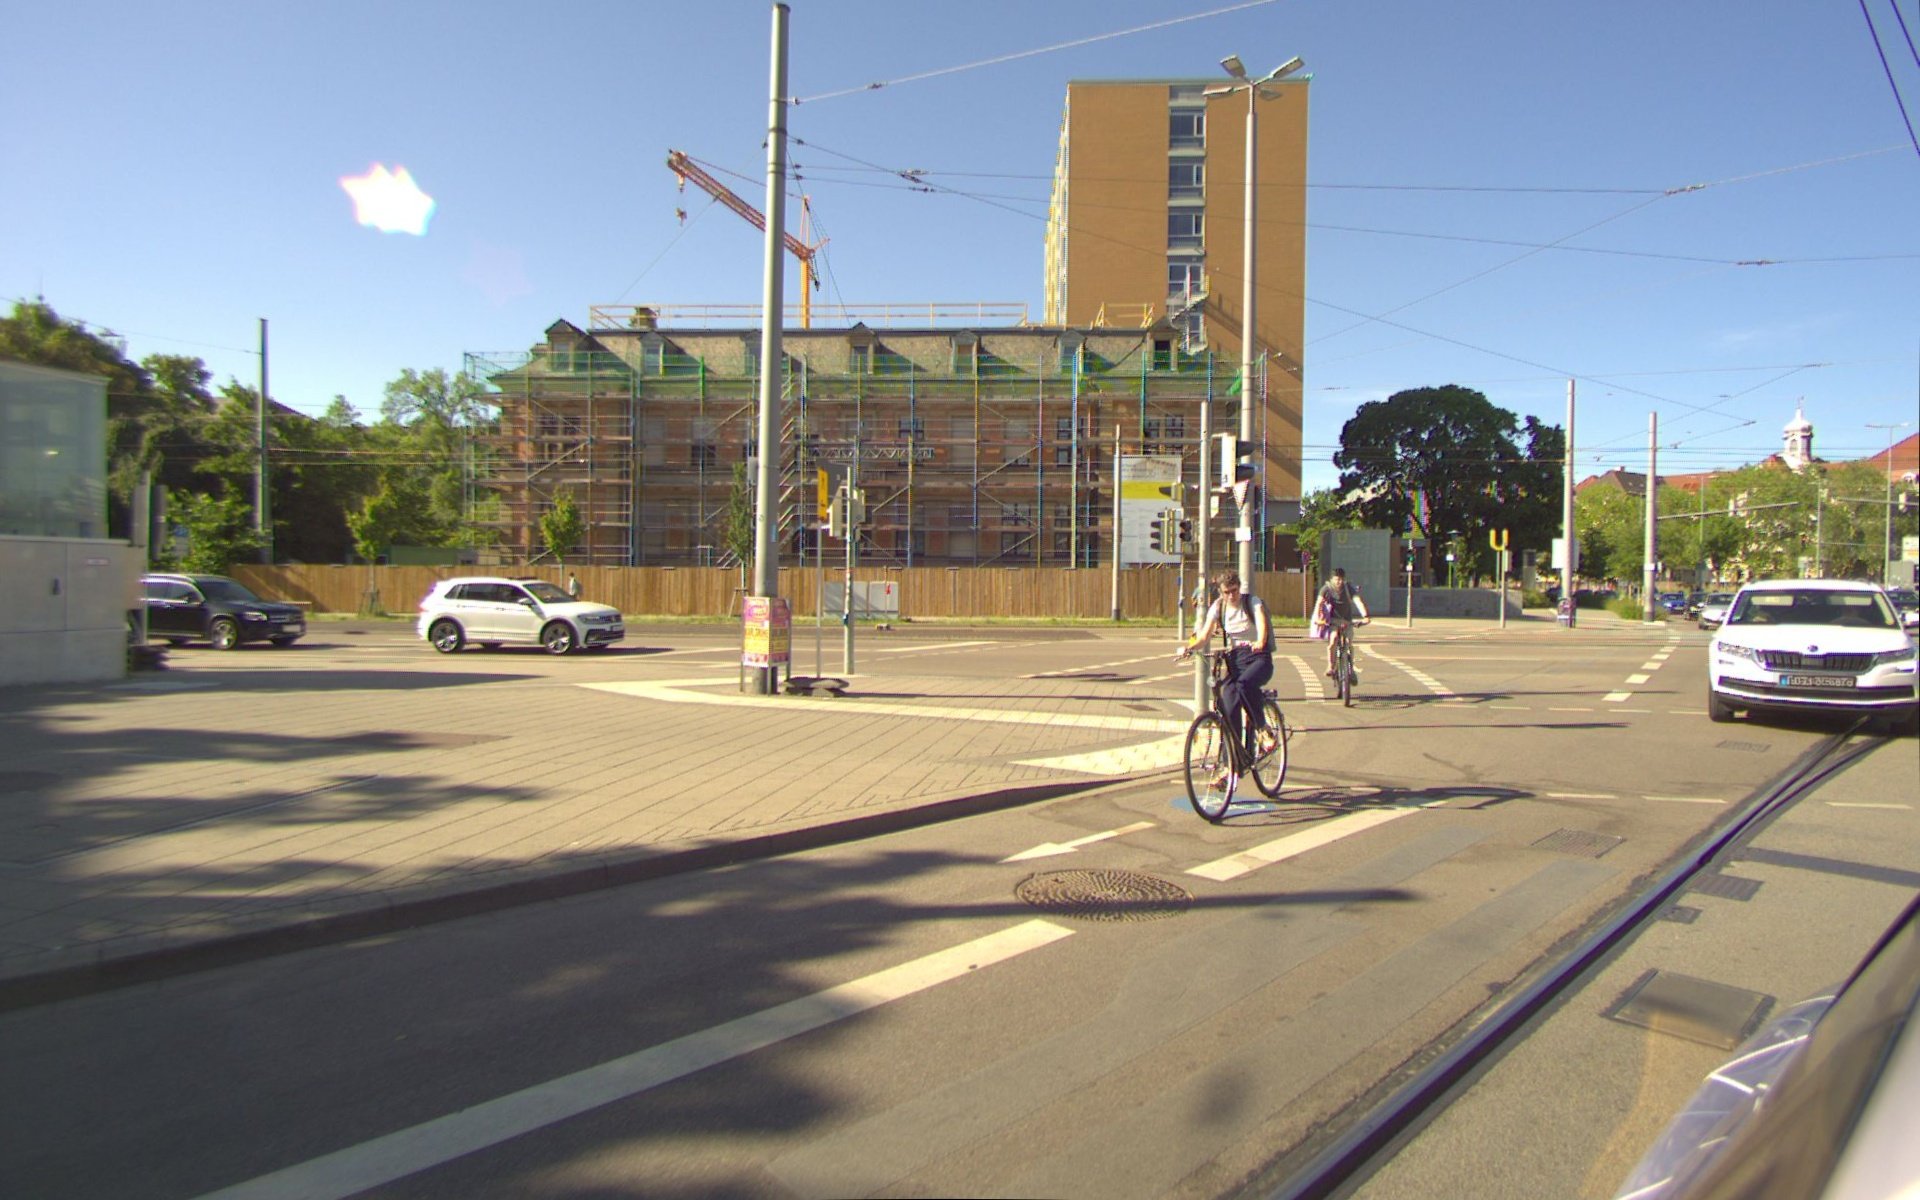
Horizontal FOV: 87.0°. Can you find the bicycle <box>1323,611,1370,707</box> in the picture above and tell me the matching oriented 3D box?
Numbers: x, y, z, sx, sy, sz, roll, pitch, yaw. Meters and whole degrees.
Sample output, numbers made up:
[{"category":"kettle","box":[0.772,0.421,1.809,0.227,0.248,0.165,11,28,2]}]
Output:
[{"category":"bicycle","box":[5.279,0.766,13.886,0.526,1.173,1.854,-1,1,19]}]

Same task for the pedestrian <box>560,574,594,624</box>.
[{"category":"pedestrian","box":[-16.035,-0.040,42.381,1.067,2.039,0.865,-1,0,0]}]

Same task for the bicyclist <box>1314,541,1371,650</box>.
[{"category":"bicyclist","box":[5.252,-0.059,13.936,0.667,1.439,1.030,-1,0,20]}]

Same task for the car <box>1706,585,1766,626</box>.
[{"category":"car","box":[33.306,0.210,43.416,1.878,1.650,3.956,-1,0,39]}]

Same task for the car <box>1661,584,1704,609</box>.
[{"category":"car","box":[47.784,-0.233,66.978,1.871,1.586,3.971,-1,0,30]}]

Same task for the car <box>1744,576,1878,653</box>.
[{"category":"car","box":[19.958,0.295,23.906,1.873,1.650,3.966,-1,0,33]}]

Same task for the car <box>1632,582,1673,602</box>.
[{"category":"car","box":[54.477,-0.660,79.670,1.902,1.477,4.628,-1,0,25]}]

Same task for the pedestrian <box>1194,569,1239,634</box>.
[{"category":"pedestrian","box":[7.856,0.045,31.005,0.930,1.954,1.032,-2,0,44]}]

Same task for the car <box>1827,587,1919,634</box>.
[{"category":"car","box":[31.706,0.337,34.963,1.905,1.477,3.826,-1,0,29]}]

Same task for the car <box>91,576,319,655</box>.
[{"category":"car","box":[-17.571,0.336,23.657,4.182,1.707,1.914,0,2,10]}]

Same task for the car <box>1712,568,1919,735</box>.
[{"category":"car","box":[10.380,0.492,12.253,1.861,1.666,4.334,0,0,39]}]

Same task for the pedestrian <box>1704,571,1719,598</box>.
[{"category":"pedestrian","box":[69.800,-1.450,93.994,0.867,2.451,0.881,-1,0,27]}]

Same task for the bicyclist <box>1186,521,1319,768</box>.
[{"category":"bicyclist","box":[2.103,0.287,7.231,0.549,1.634,0.939,-2,0,40]}]

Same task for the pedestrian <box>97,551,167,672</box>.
[{"category":"pedestrian","box":[-13.130,0.184,16.060,0.638,1.872,0.546,-1,0,5]}]

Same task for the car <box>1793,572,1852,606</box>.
[{"category":"car","box":[72.375,-0.911,85.001,2.218,2.715,5.265,-1,0,23]}]

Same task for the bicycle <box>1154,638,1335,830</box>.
[{"category":"bicycle","box":[2.060,0.858,7.147,0.530,1.132,1.906,-1,-1,39]}]

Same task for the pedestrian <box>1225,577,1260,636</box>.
[{"category":"pedestrian","box":[8.239,0.186,29.490,0.659,1.698,0.811,-2,0,43]}]

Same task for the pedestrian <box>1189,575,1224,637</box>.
[{"category":"pedestrian","box":[7.178,0.172,29.466,0.659,1.779,0.811,-2,0,43]}]

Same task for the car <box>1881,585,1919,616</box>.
[{"category":"car","box":[50.462,0.031,53.734,1.675,1.551,3.868,-1,0,34]}]

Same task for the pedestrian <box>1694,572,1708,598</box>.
[{"category":"pedestrian","box":[69.918,-1.433,95.507,0.867,2.466,0.881,-1,0,27]}]

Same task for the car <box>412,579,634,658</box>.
[{"category":"car","box":[-9.679,0.382,22.582,4.182,1.641,1.914,0,2,10]}]

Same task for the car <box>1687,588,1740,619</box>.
[{"category":"car","box":[41.874,0.175,56.336,1.871,1.586,3.971,-1,0,30]}]

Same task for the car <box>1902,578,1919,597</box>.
[{"category":"car","box":[98.721,-1.306,101.864,5.149,1.826,2.405,-1,0,8]}]
